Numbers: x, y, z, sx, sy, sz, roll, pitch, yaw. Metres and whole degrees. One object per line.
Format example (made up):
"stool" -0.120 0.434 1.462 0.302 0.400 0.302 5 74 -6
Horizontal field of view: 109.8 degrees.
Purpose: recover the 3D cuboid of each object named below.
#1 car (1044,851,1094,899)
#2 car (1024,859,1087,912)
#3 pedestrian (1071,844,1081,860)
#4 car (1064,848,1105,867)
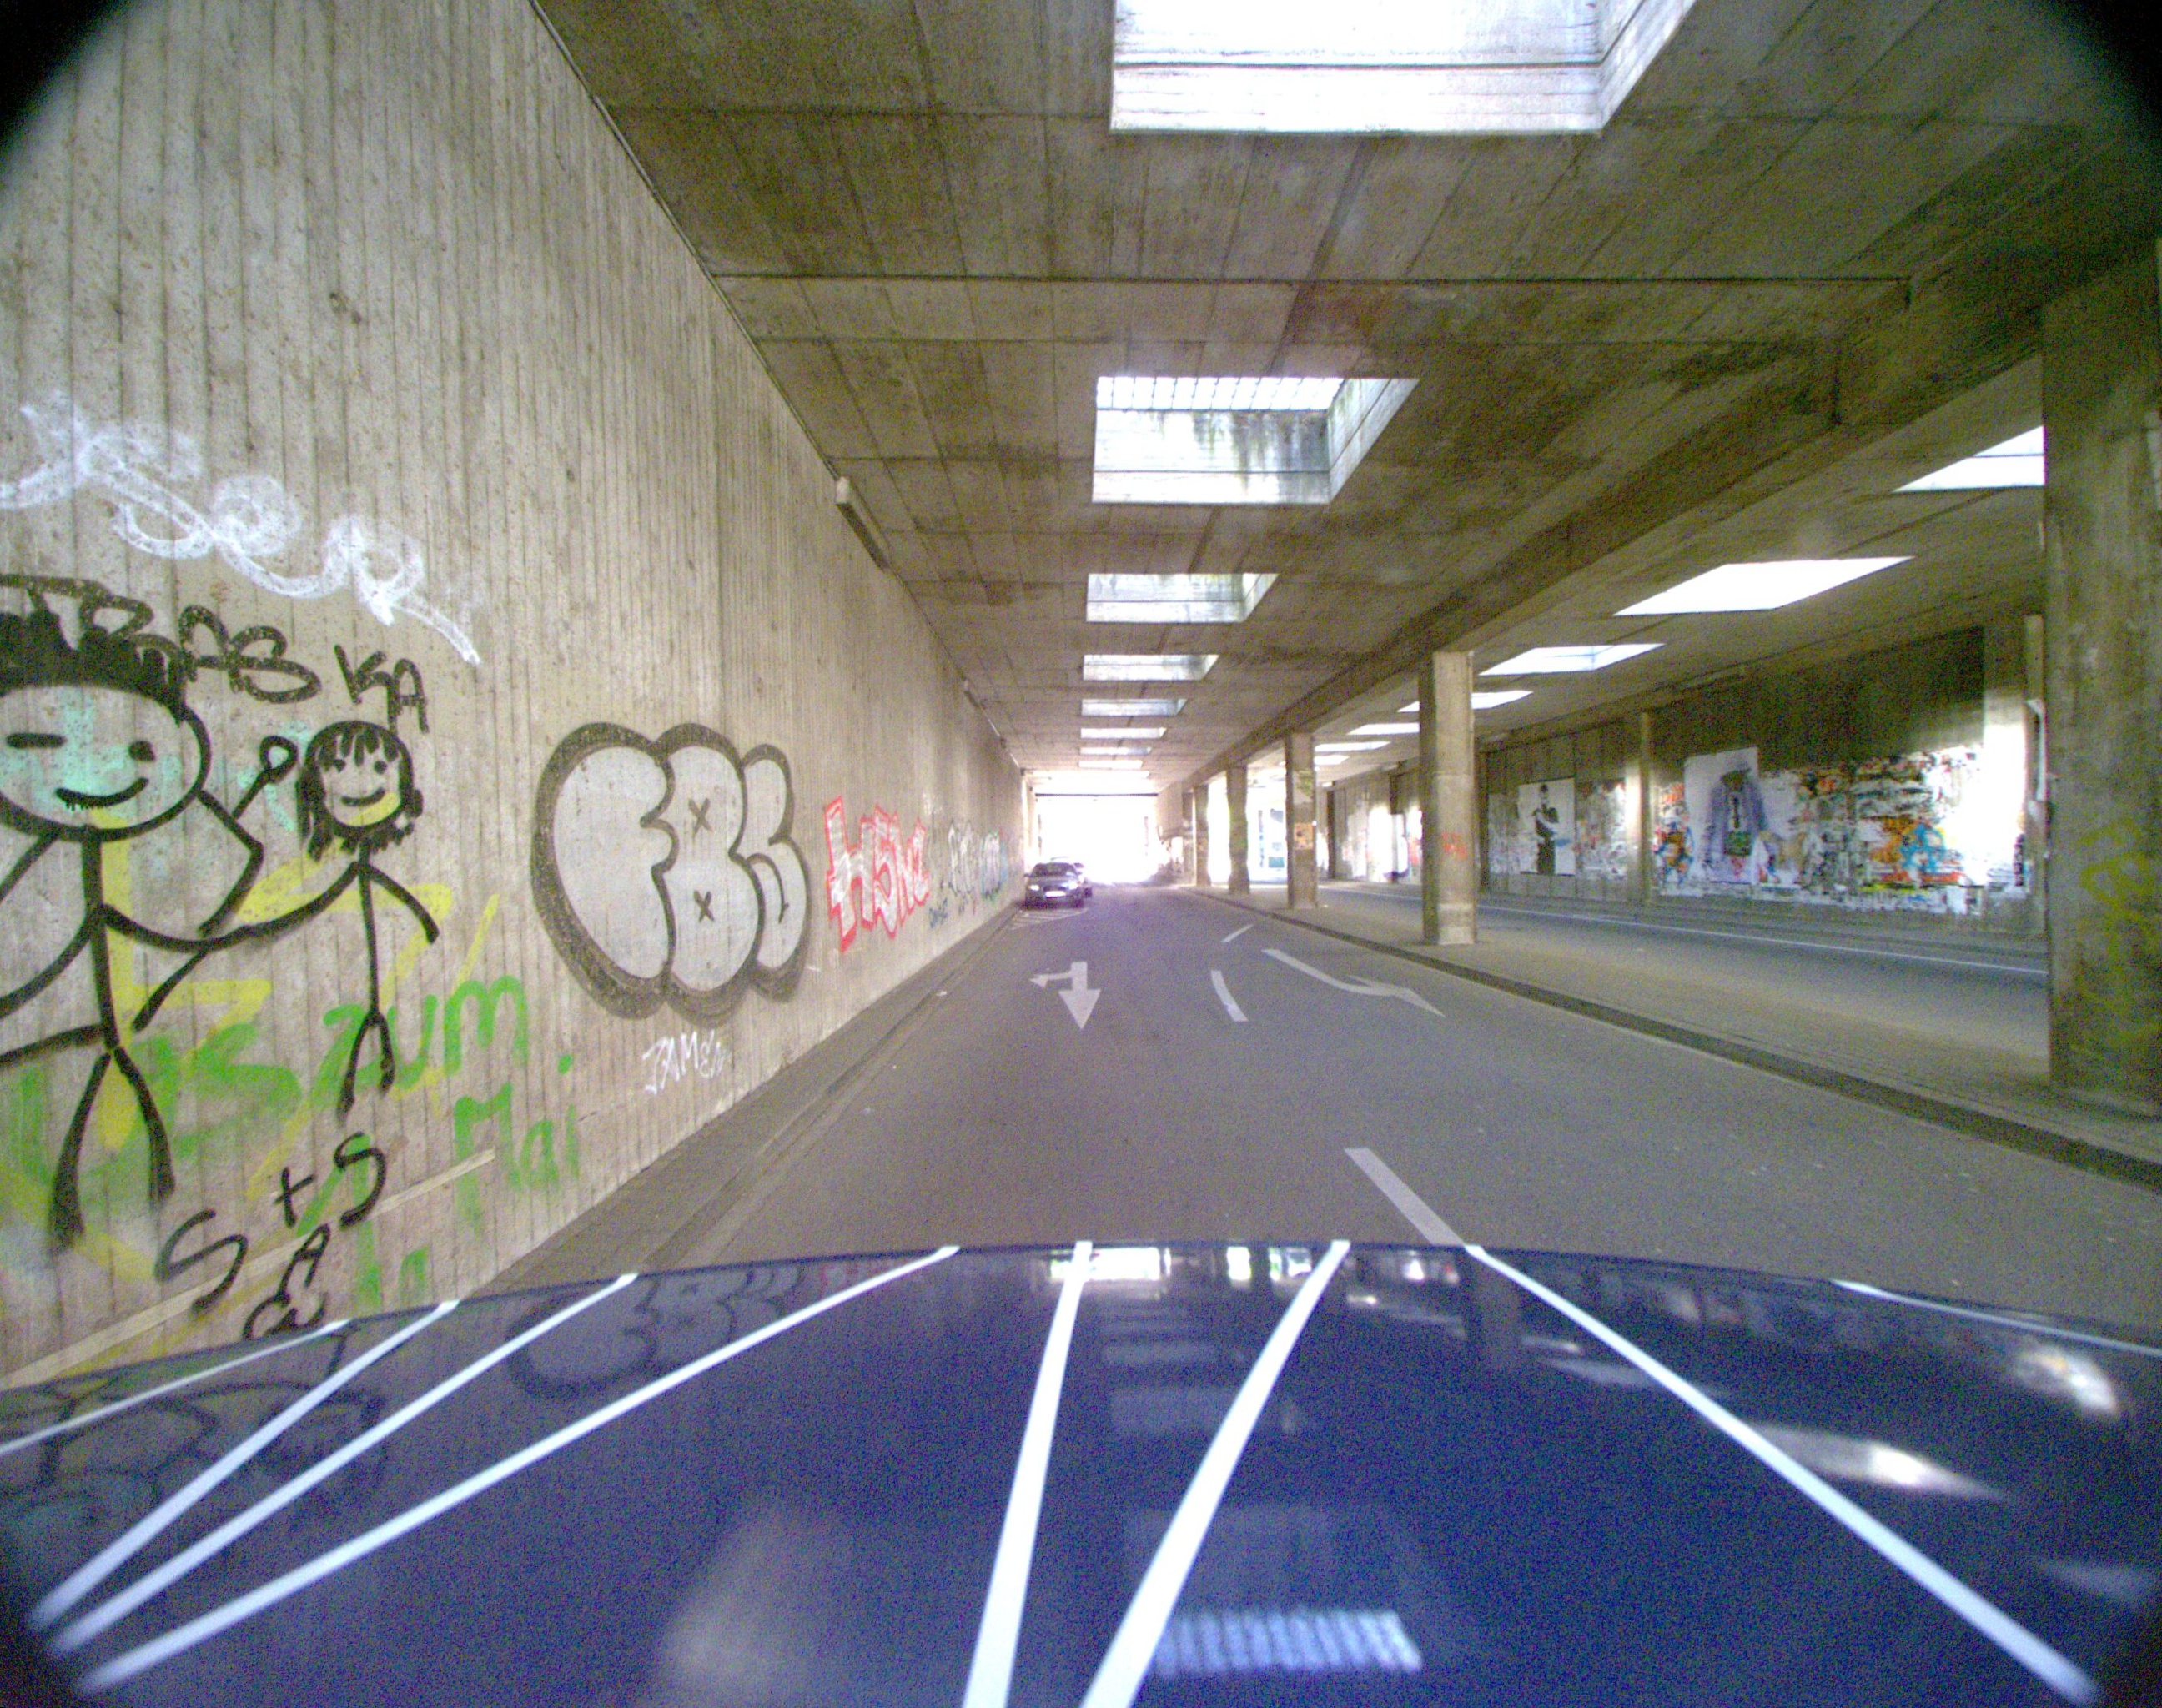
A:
"car" -0.495 0.763 29.799 1.767 1.634 3.999 -2 1 -2
"car" -0.732 0.920 24.086 1.767 1.407 3.999 -2 1 1
"pedestrian" -0.704 -0.257 102.029 1.215 2.002 1.489 -2 1 -2
"car" 0.386 0.363 79.155 3.995 1.740 2.001 -2 1 7
